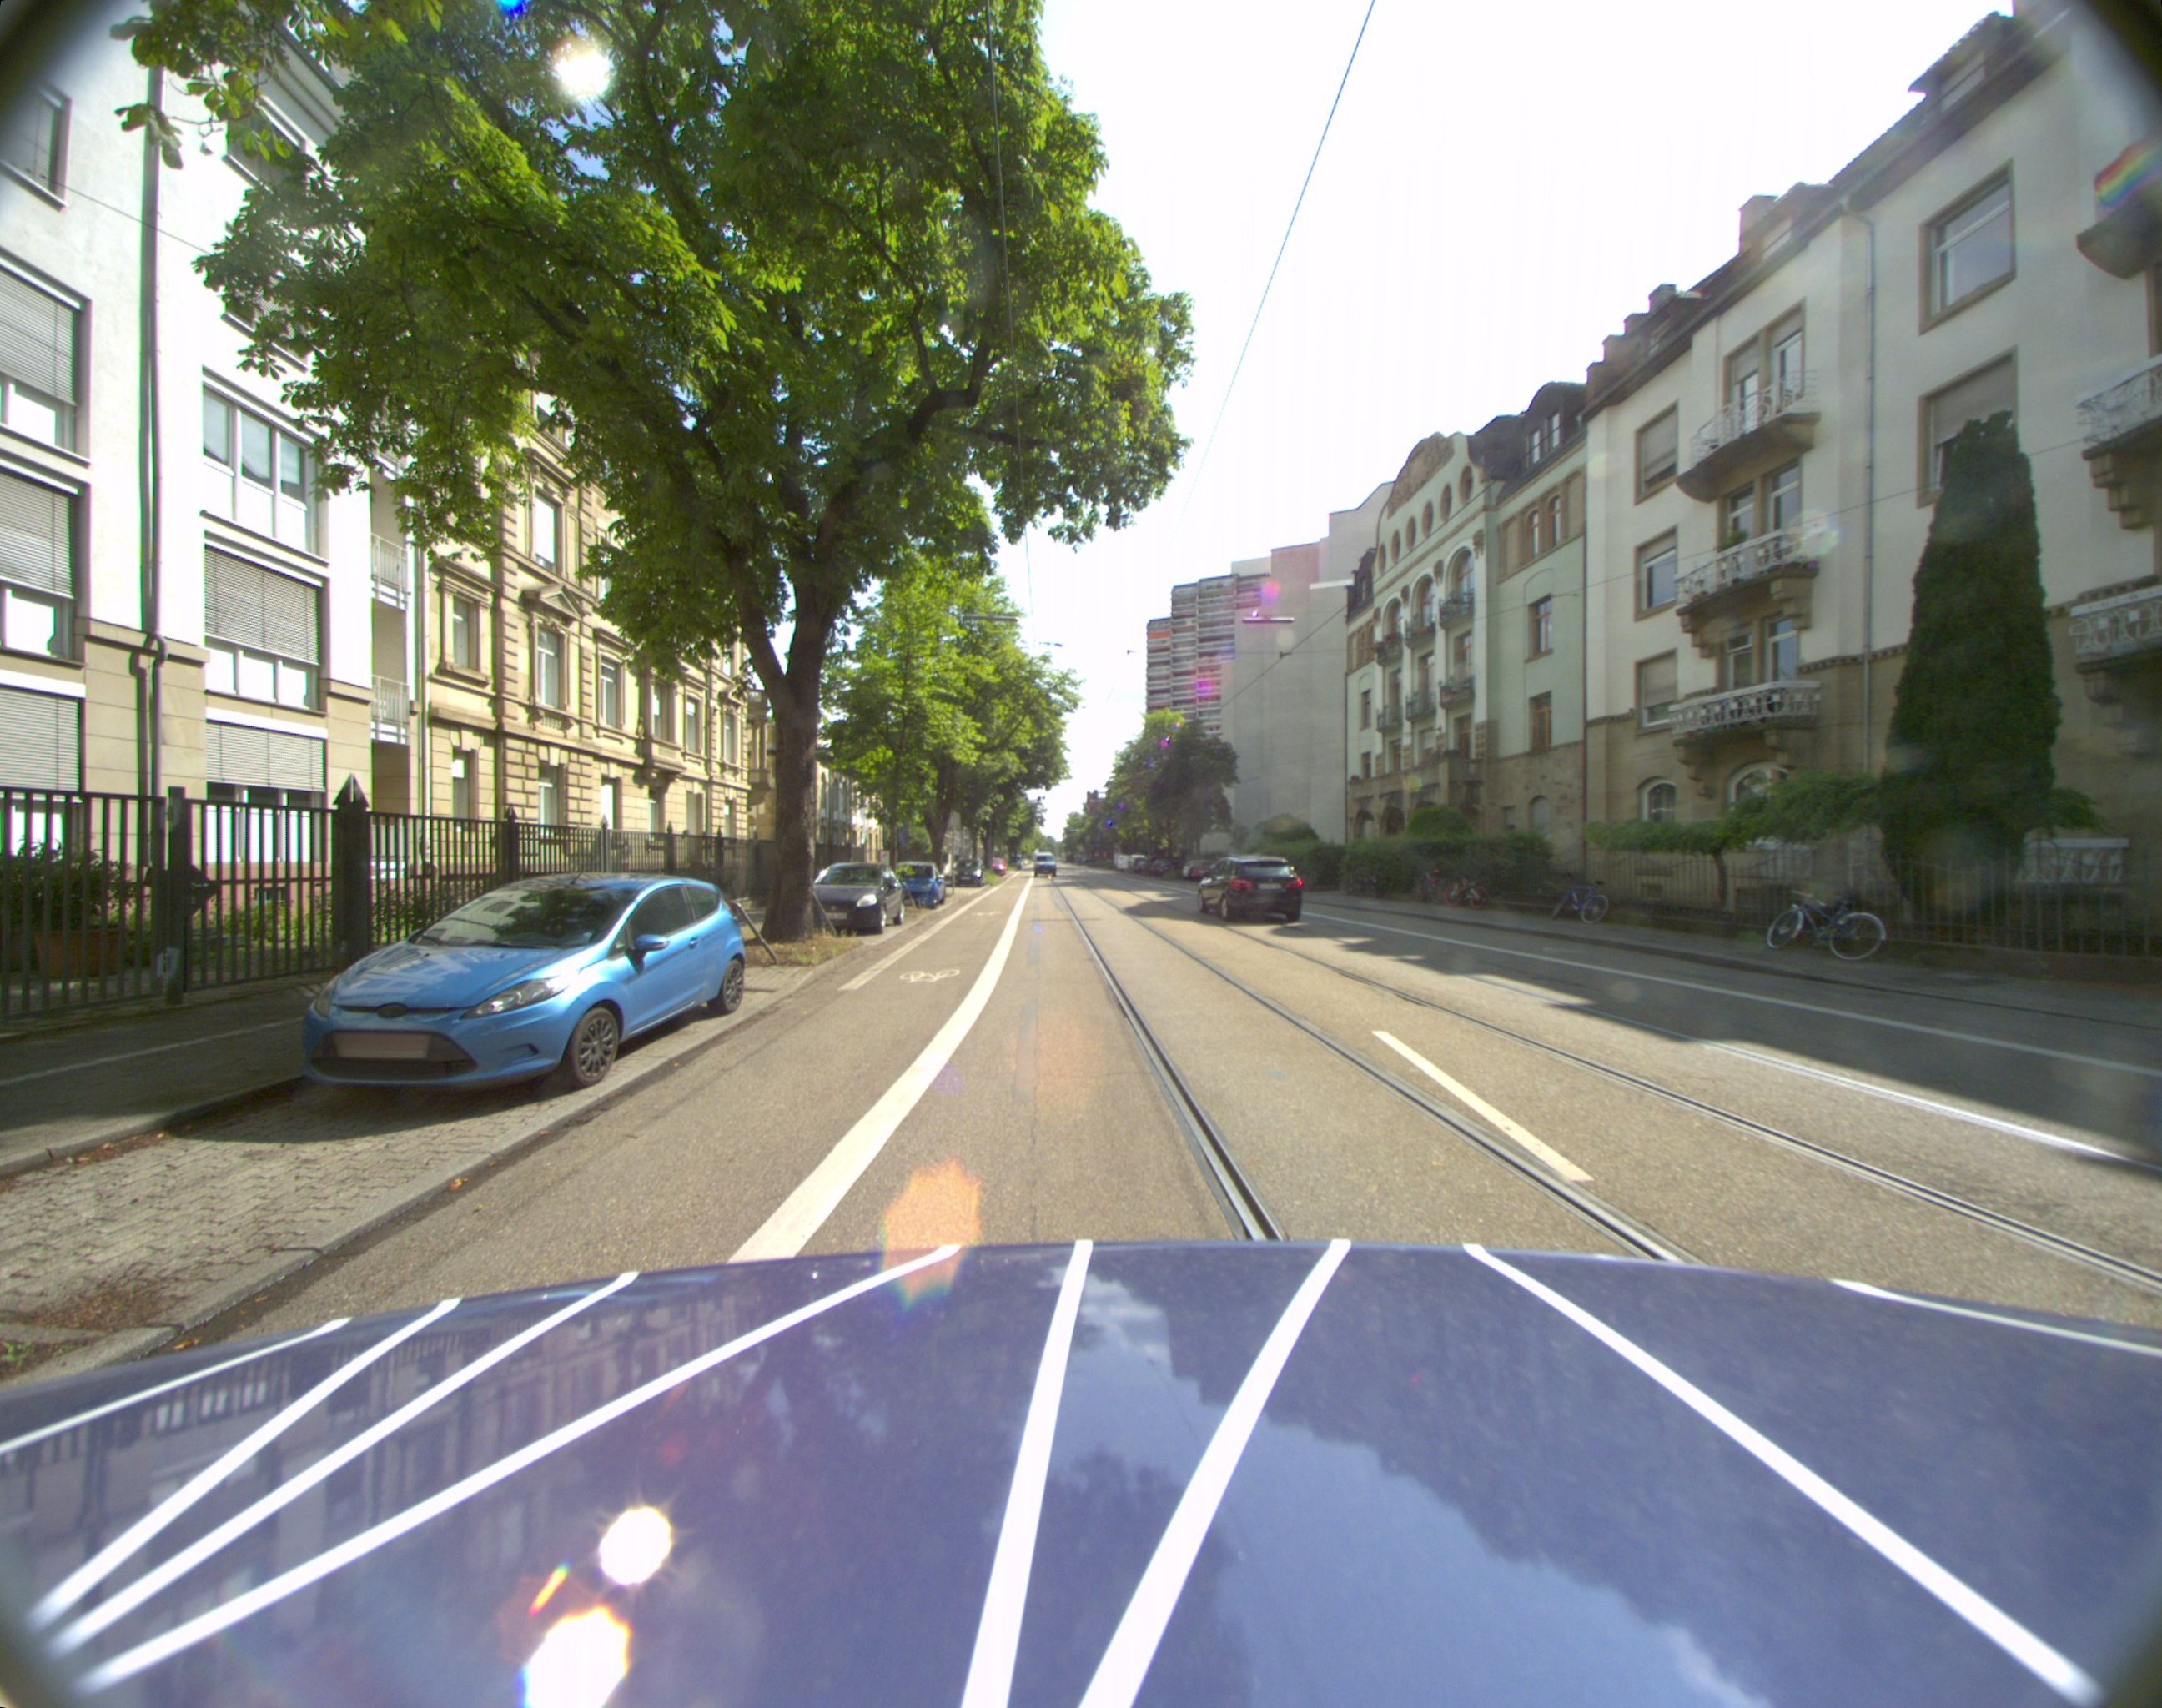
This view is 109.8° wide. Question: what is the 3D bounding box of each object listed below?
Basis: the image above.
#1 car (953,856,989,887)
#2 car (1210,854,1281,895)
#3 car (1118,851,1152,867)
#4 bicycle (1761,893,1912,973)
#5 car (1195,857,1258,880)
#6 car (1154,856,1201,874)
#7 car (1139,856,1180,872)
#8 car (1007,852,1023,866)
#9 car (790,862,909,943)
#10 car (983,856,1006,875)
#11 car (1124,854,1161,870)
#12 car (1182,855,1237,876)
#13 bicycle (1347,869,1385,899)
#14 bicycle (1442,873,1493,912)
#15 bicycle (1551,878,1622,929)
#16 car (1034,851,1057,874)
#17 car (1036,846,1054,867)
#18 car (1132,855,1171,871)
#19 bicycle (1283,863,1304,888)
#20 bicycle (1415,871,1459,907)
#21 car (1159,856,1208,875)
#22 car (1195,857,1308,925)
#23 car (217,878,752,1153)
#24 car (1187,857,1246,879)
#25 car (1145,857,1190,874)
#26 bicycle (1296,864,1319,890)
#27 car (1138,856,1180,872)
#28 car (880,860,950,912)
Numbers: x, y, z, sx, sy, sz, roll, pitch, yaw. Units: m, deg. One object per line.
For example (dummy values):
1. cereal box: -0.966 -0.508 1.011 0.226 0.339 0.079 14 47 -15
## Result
1. car: -6.248 0.963 43.425 1.744 1.564 3.659 2 0 -4
2. car: 7.240 0.846 33.946 1.922 1.685 4.400 0 0 -5
3. car: 6.365 0.542 89.393 1.994 1.740 4.008 -1 1 41
4. bicycle: 11.096 1.117 11.263 0.467 0.990 1.979 0 0 7
5. car: 9.521 0.932 49.912 3.994 1.499 2.001 0 0 8
6. car: 8.373 0.972 66.172 3.994 1.499 2.001 0 0 8
7. car: 7.792 0.982 75.660 3.994 1.499 2.001 0 0 8
8. car: -7.883 0.546 91.054 1.744 1.564 3.928 2 0 -4
9. car: -4.921 0.973 16.634 1.679 1.467 3.659 3 0 -4
10. car: -7.518 0.966 66.381 1.744 1.564 3.928 2 0 -4
11. car: 6.788 0.882 83.559 3.994 1.672 2.001 0 0 8
12. car: 9.617 0.858 56.968 3.994 1.499 2.001 0 0 8
13. bicycle: 10.099 1.059 26.977 0.605 0.990 1.981 0 0 -1
14. bicycle: 10.653 1.032 20.992 0.468 0.990 1.787 0 0 -1
15. bicycle: 10.946 1.043 16.507 0.467 0.990 1.787 0 0 5
16. car: -3.054 0.708 65.969 1.974 1.901 4.817 0 0 -2
17. car: -4.369 0.293 92.680 2.146 2.568 4.817 0 0 -2
18. car: 7.372 0.900 79.134 3.994 1.672 2.001 0 0 8
19. bicycle: 10.060 0.991 36.029 0.468 1.128 1.787 0 0 -1
20. bicycle: 10.690 1.026 22.890 0.468 0.990 1.787 0 0 -1
21. car: 8.472 0.960 63.016 3.994 1.499 2.001 0 0 8
22. car: 4.153 0.841 19.146 1.760 1.509 4.067 0 0 -3
23. car: -4.318 1.027 6.336 1.647 1.467 3.660 3 0 -3
24. car: 9.484 0.941 53.420 3.994 1.499 2.001 0 0 8
25. car: 7.873 1.010 69.291 3.994 1.499 2.001 0 0 8
26. bicycle: 10.143 1.012 34.087 0.468 1.128 1.787 0 0 -1
27. car: 7.465 0.984 72.500 3.994 1.499 2.001 0 0 8
28. car: -5.335 0.991 24.848 1.679 1.467 3.659 3 0 -4
